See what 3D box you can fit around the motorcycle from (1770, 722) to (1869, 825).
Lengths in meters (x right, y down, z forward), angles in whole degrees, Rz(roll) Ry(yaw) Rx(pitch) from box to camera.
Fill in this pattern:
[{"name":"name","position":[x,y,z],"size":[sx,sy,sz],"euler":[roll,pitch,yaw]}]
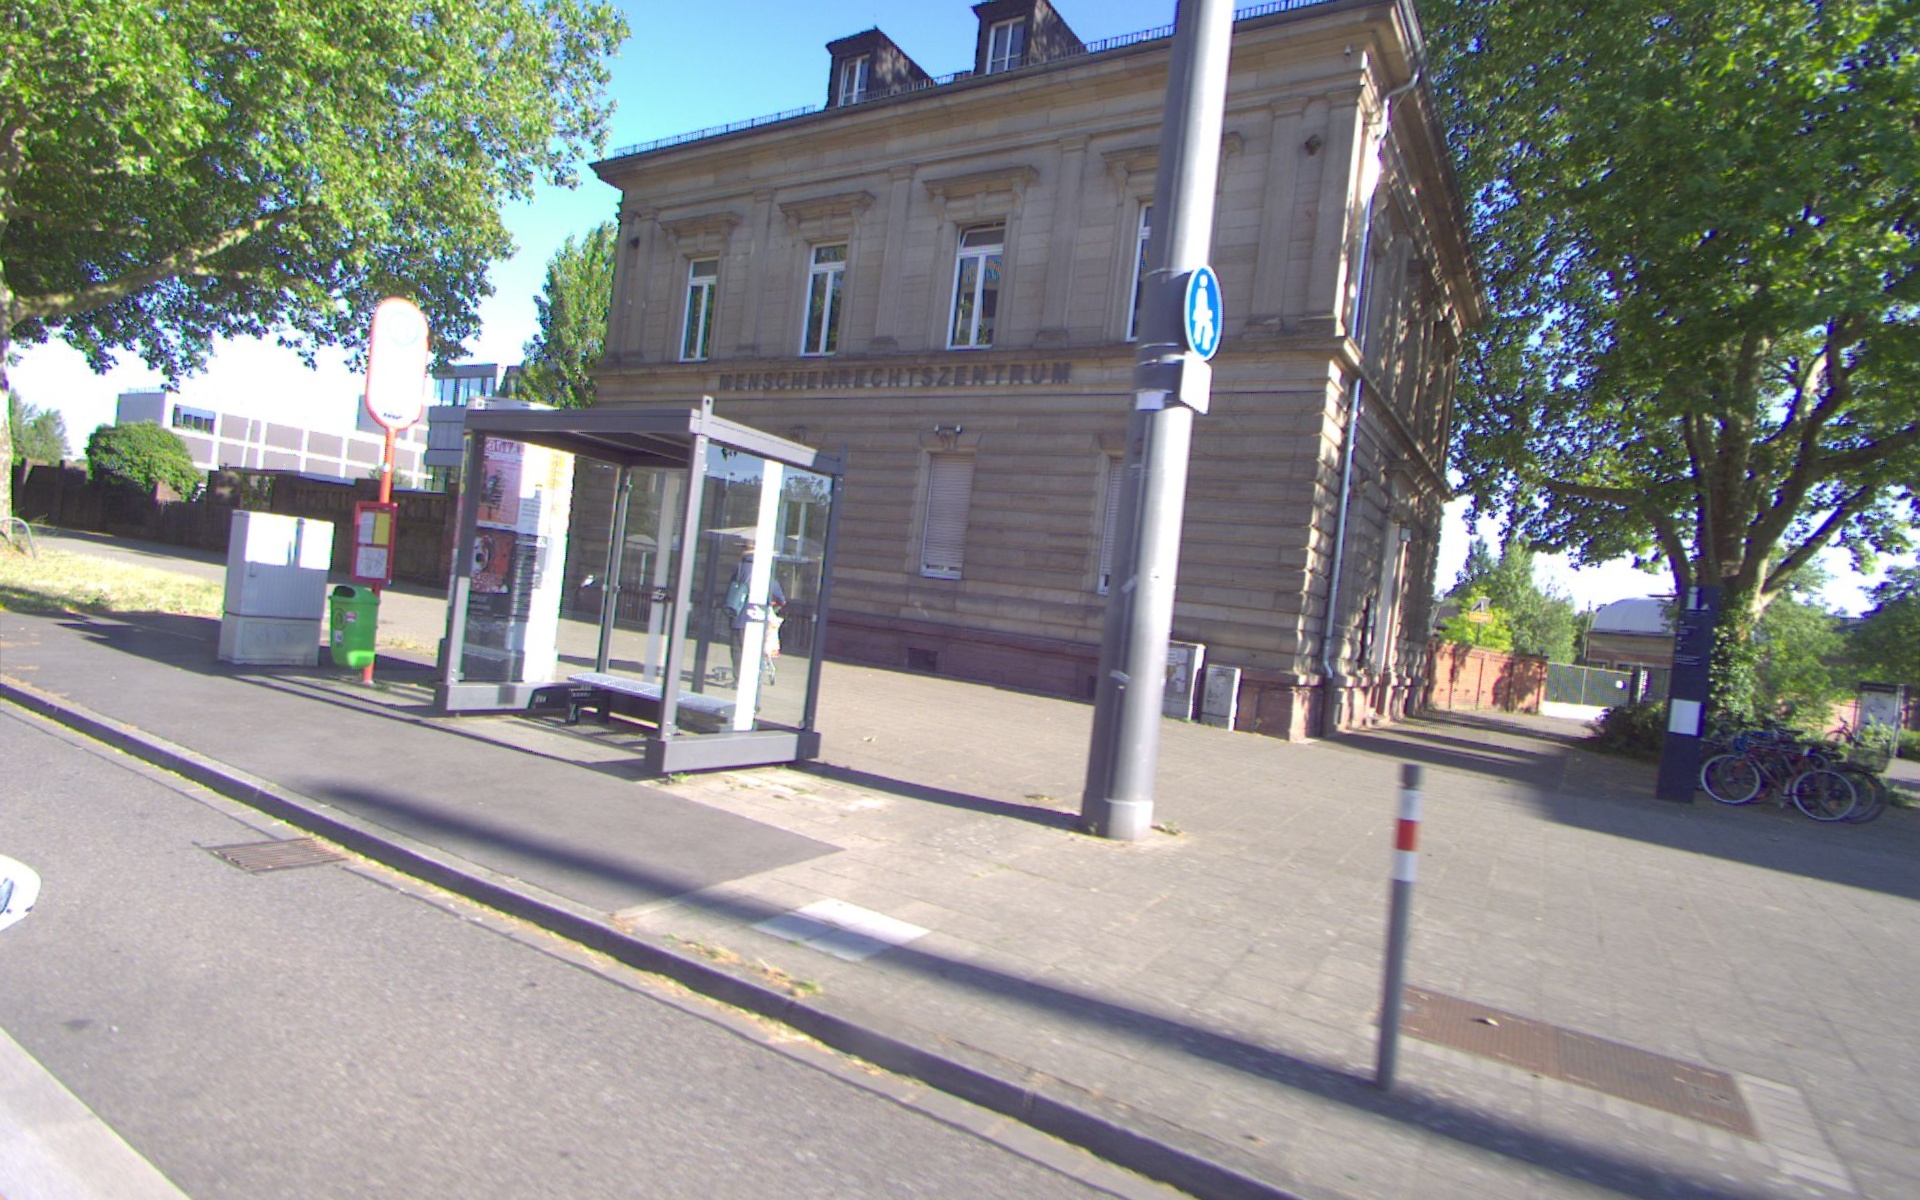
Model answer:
[{"name":"motorcycle","position":[11.777,2.334,13.852],"size":[0.874,1.173,2.218],"euler":[6,-1,39]}]

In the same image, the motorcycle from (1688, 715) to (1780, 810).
[{"name":"motorcycle","position":[10.935,2.248,14.199],"size":[0.874,1.116,2.076],"euler":[6,-1,39]}]

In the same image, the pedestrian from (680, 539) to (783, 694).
[{"name":"pedestrian","position":[-2.771,0.195,12.235],"size":[0.782,1.767,0.770],"euler":[7,2,26]}]

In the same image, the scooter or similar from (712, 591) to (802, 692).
[{"name":"scooter or similar","position":[-2.559,0.515,12.710],"size":[0.746,1.171,0.719],"euler":[7,2,26]}]
